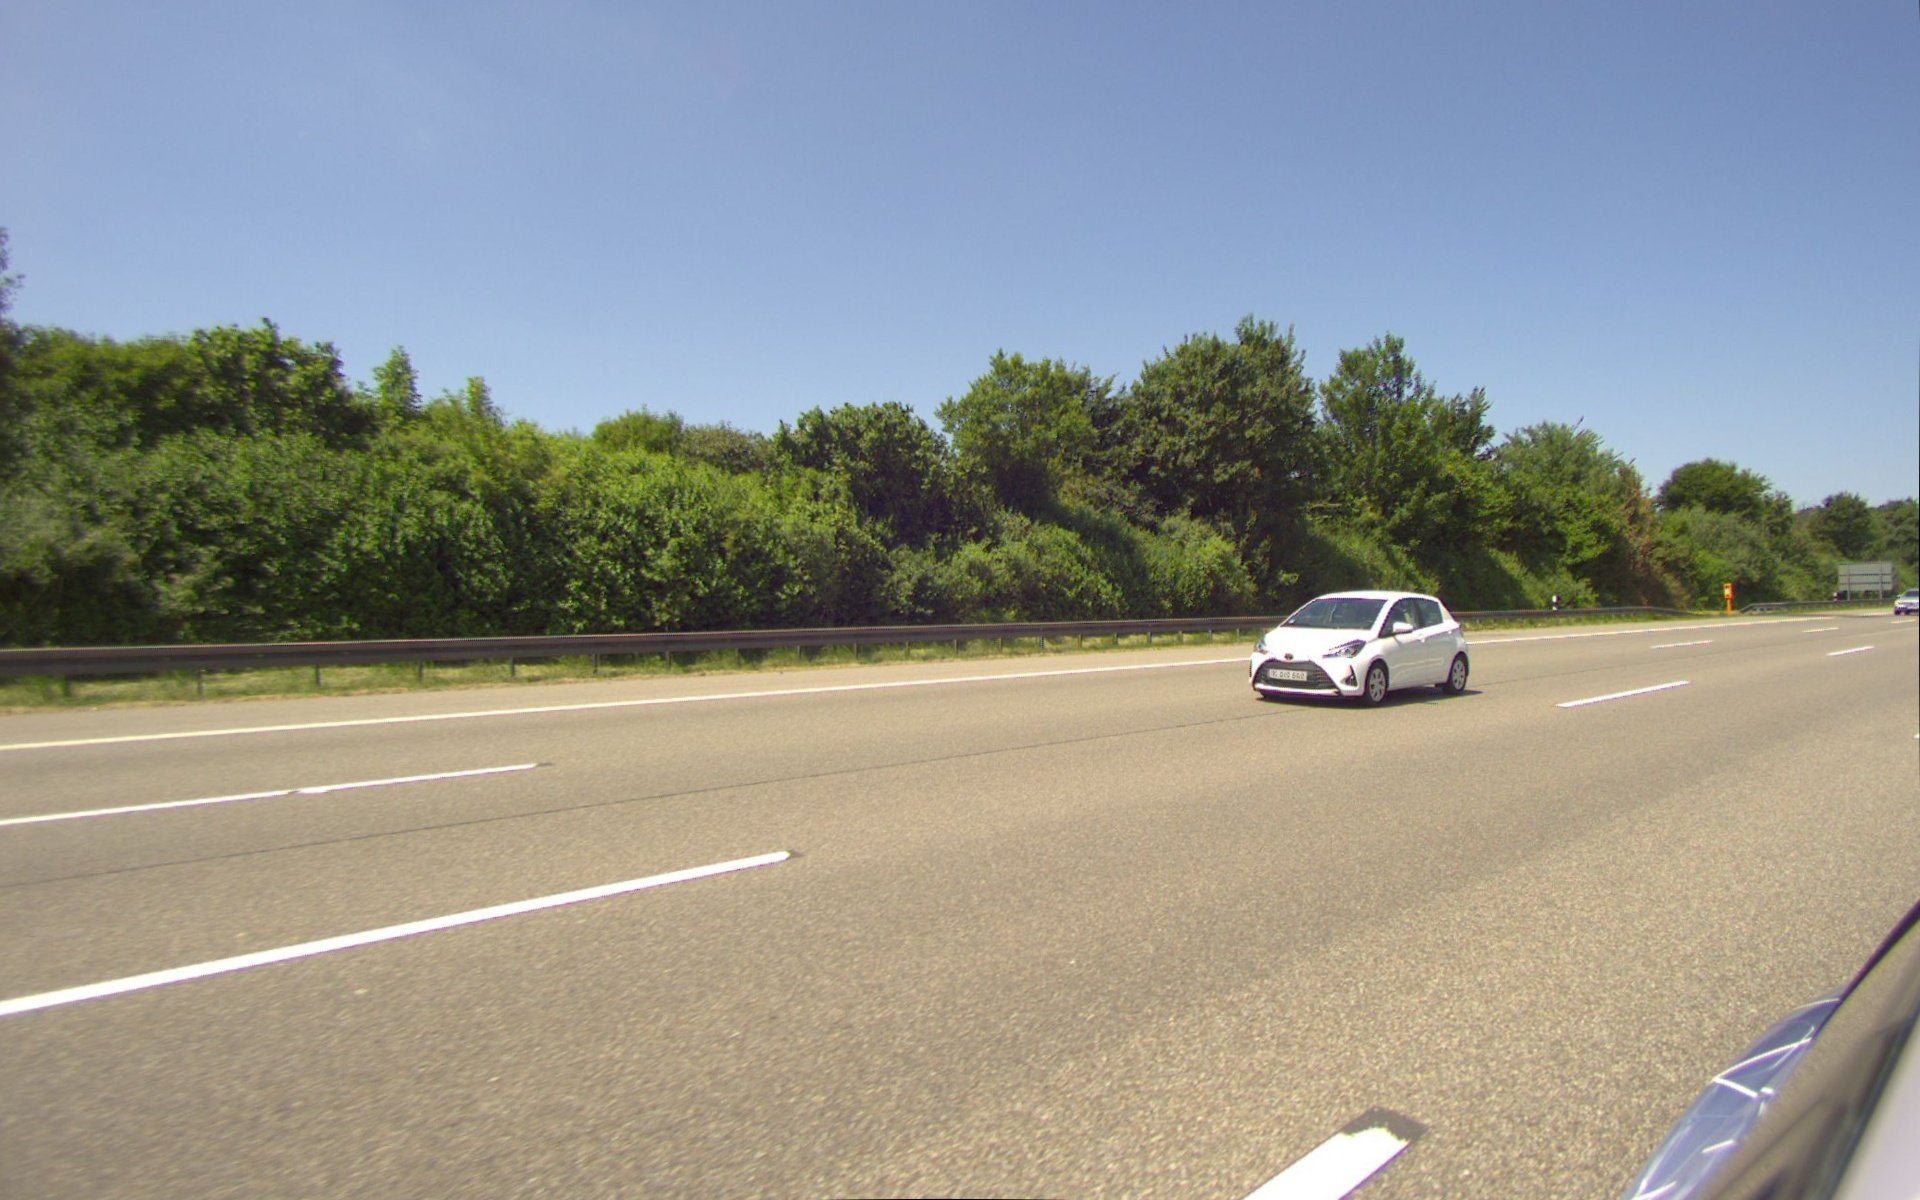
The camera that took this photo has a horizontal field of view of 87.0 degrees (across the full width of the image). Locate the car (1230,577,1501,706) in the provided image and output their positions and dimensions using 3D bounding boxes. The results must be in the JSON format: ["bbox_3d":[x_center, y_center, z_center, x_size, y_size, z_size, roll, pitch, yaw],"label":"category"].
[{"bbox_3d":[5.894,0.463,14.465,4.405,1.538,1.753,-2,1,-40],"label":"car"}]

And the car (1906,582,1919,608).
[{"bbox_3d":[60.386,-0.350,62.704,3.926,1.549,1.999,-2,1,-37],"label":"car"}]
